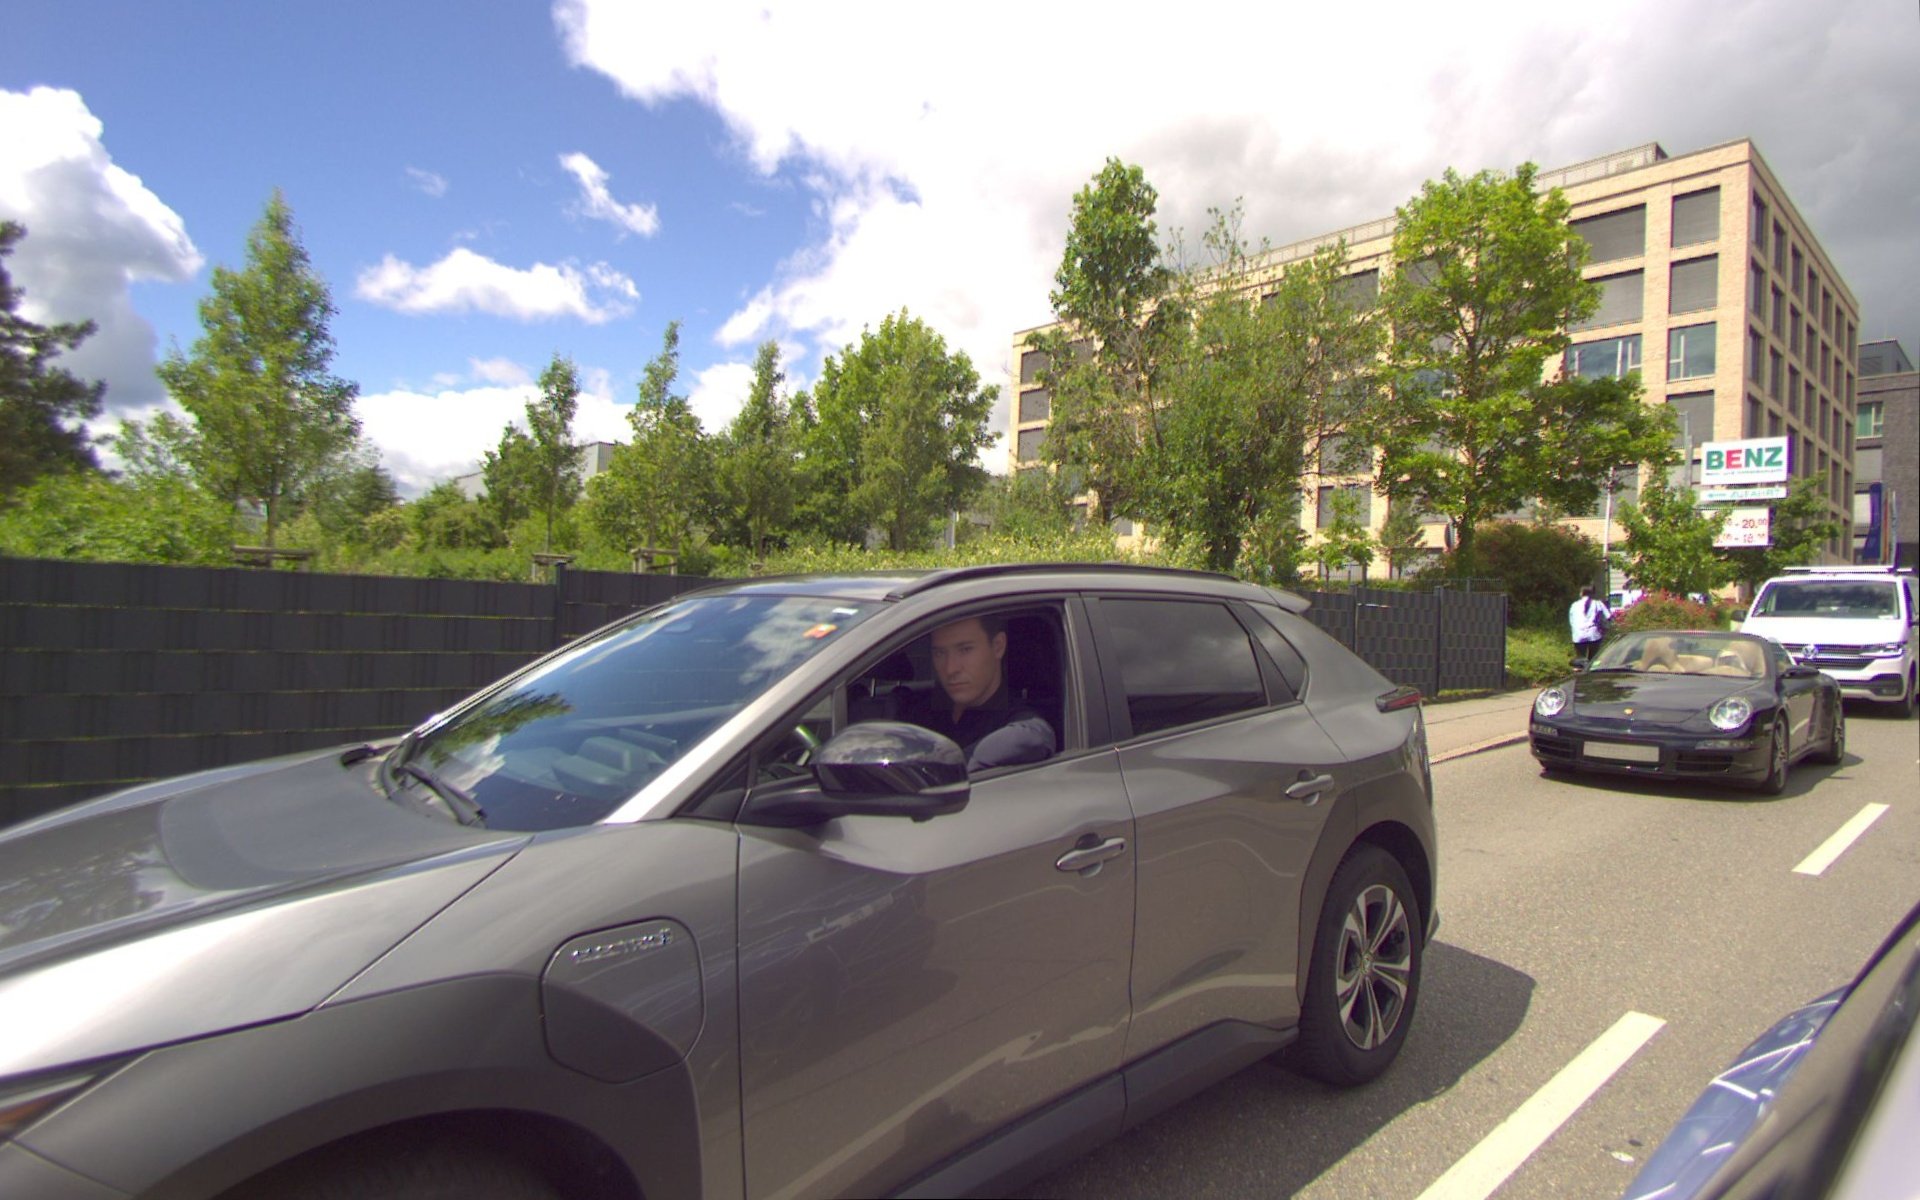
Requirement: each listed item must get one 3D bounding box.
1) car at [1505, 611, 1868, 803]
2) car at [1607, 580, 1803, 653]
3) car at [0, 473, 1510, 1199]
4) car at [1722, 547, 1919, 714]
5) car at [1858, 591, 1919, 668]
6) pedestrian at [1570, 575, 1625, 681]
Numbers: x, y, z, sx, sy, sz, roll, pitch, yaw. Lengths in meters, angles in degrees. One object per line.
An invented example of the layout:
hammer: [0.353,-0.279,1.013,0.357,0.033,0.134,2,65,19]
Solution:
car: [6.738,0.788,9.238,3.967,1.310,1.823,0,0,-41]
car: [19.991,0.374,27.268,1.793,1.754,3.991,0,2,-44]
car: [-0.342,0.673,2.940,4.501,1.649,1.997,0,1,-42]
car: [13.051,0.371,14.828,4.677,2.075,2.087,0,0,-41]
car: [20.246,0.584,21.063,3.930,1.481,1.817,0,2,-41]
pedestrian: [10.422,0.441,16.548,0.435,1.678,0.631,0,1,-42]
